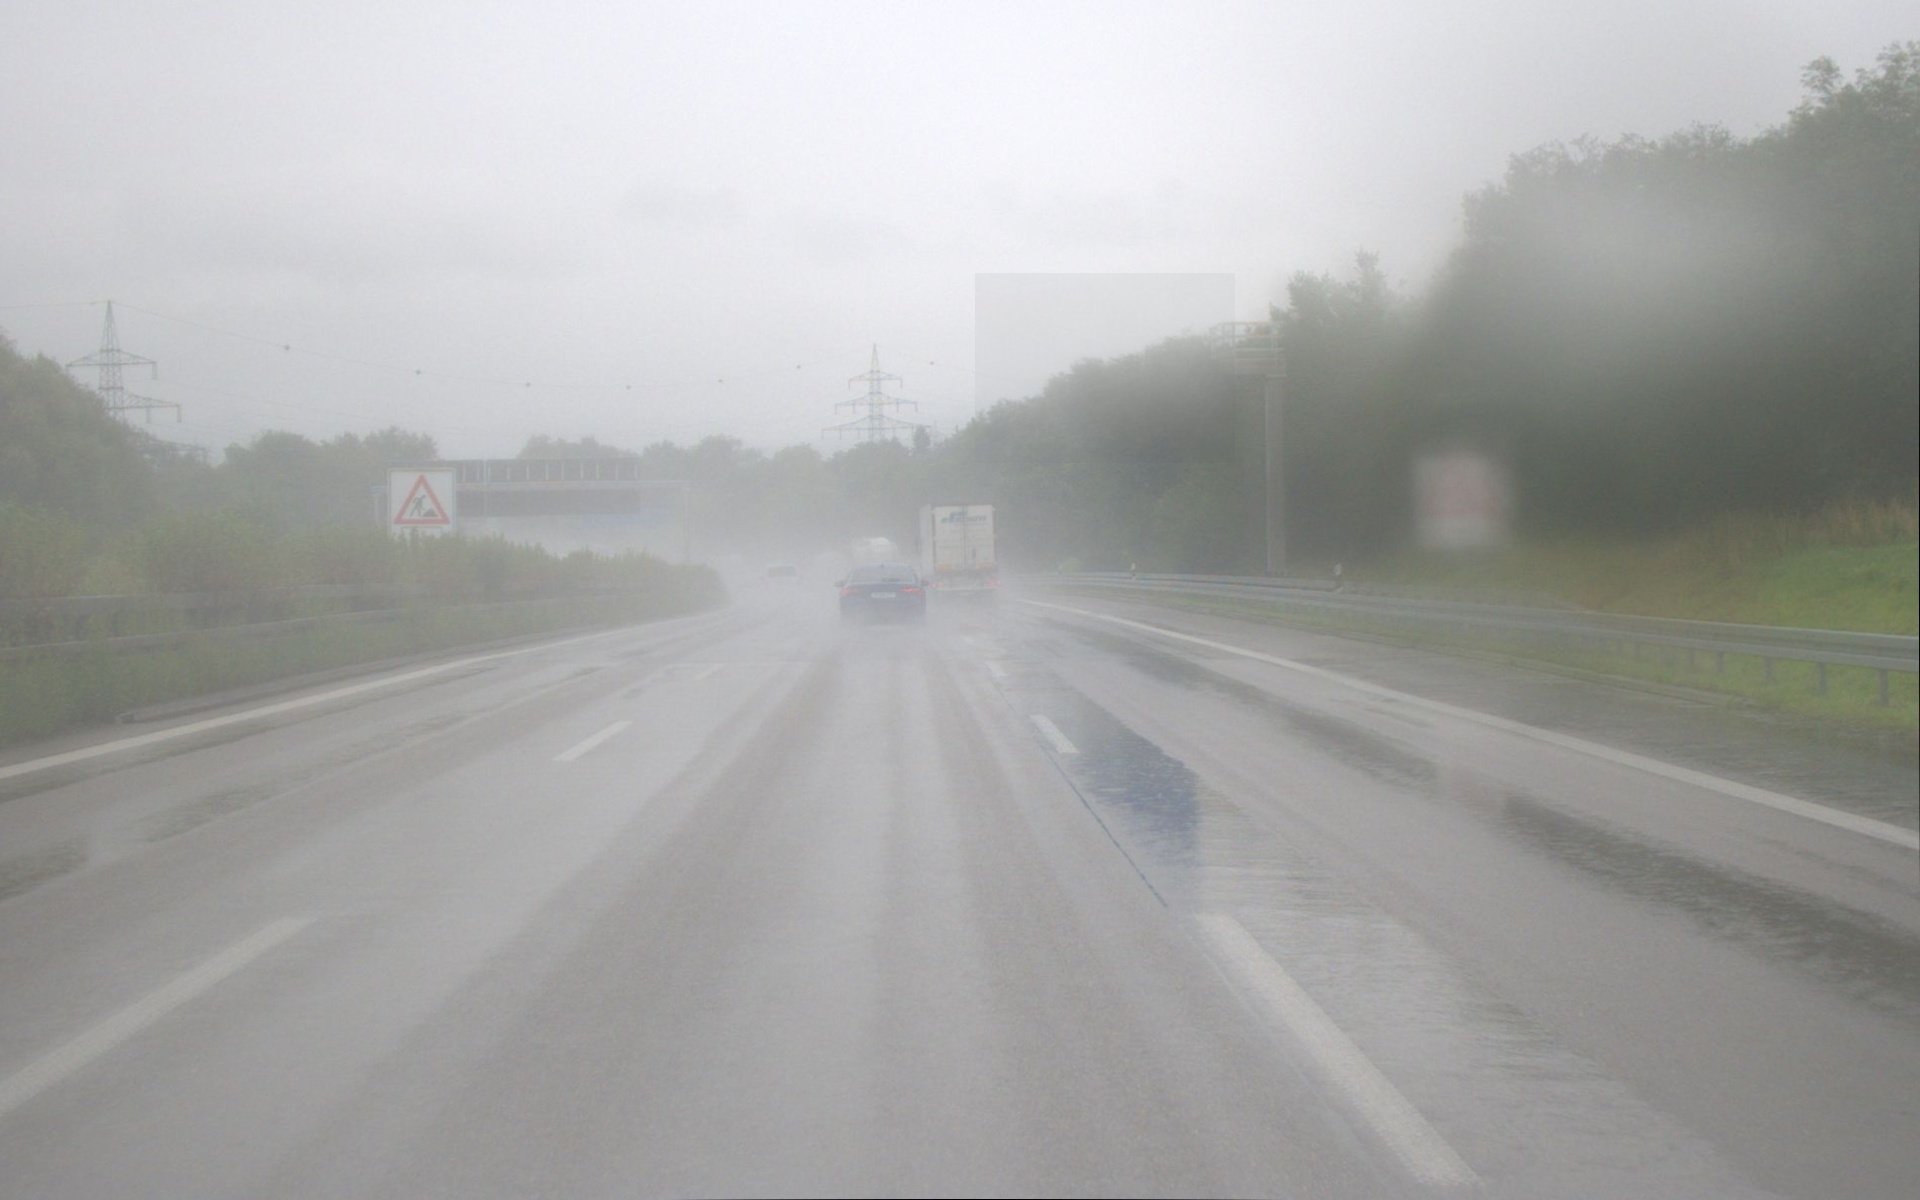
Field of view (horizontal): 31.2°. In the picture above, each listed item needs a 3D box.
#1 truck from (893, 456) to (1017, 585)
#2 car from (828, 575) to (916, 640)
[{"bbox_3d":[-0.366,-3.391,147.375,4.256,4.955,17.343,-3,1,-3],"label":"truck"},{"bbox_3d":[-1.830,0.134,71.349,1.748,1.208,4.001,-1,1,-2],"label":"car"}]
